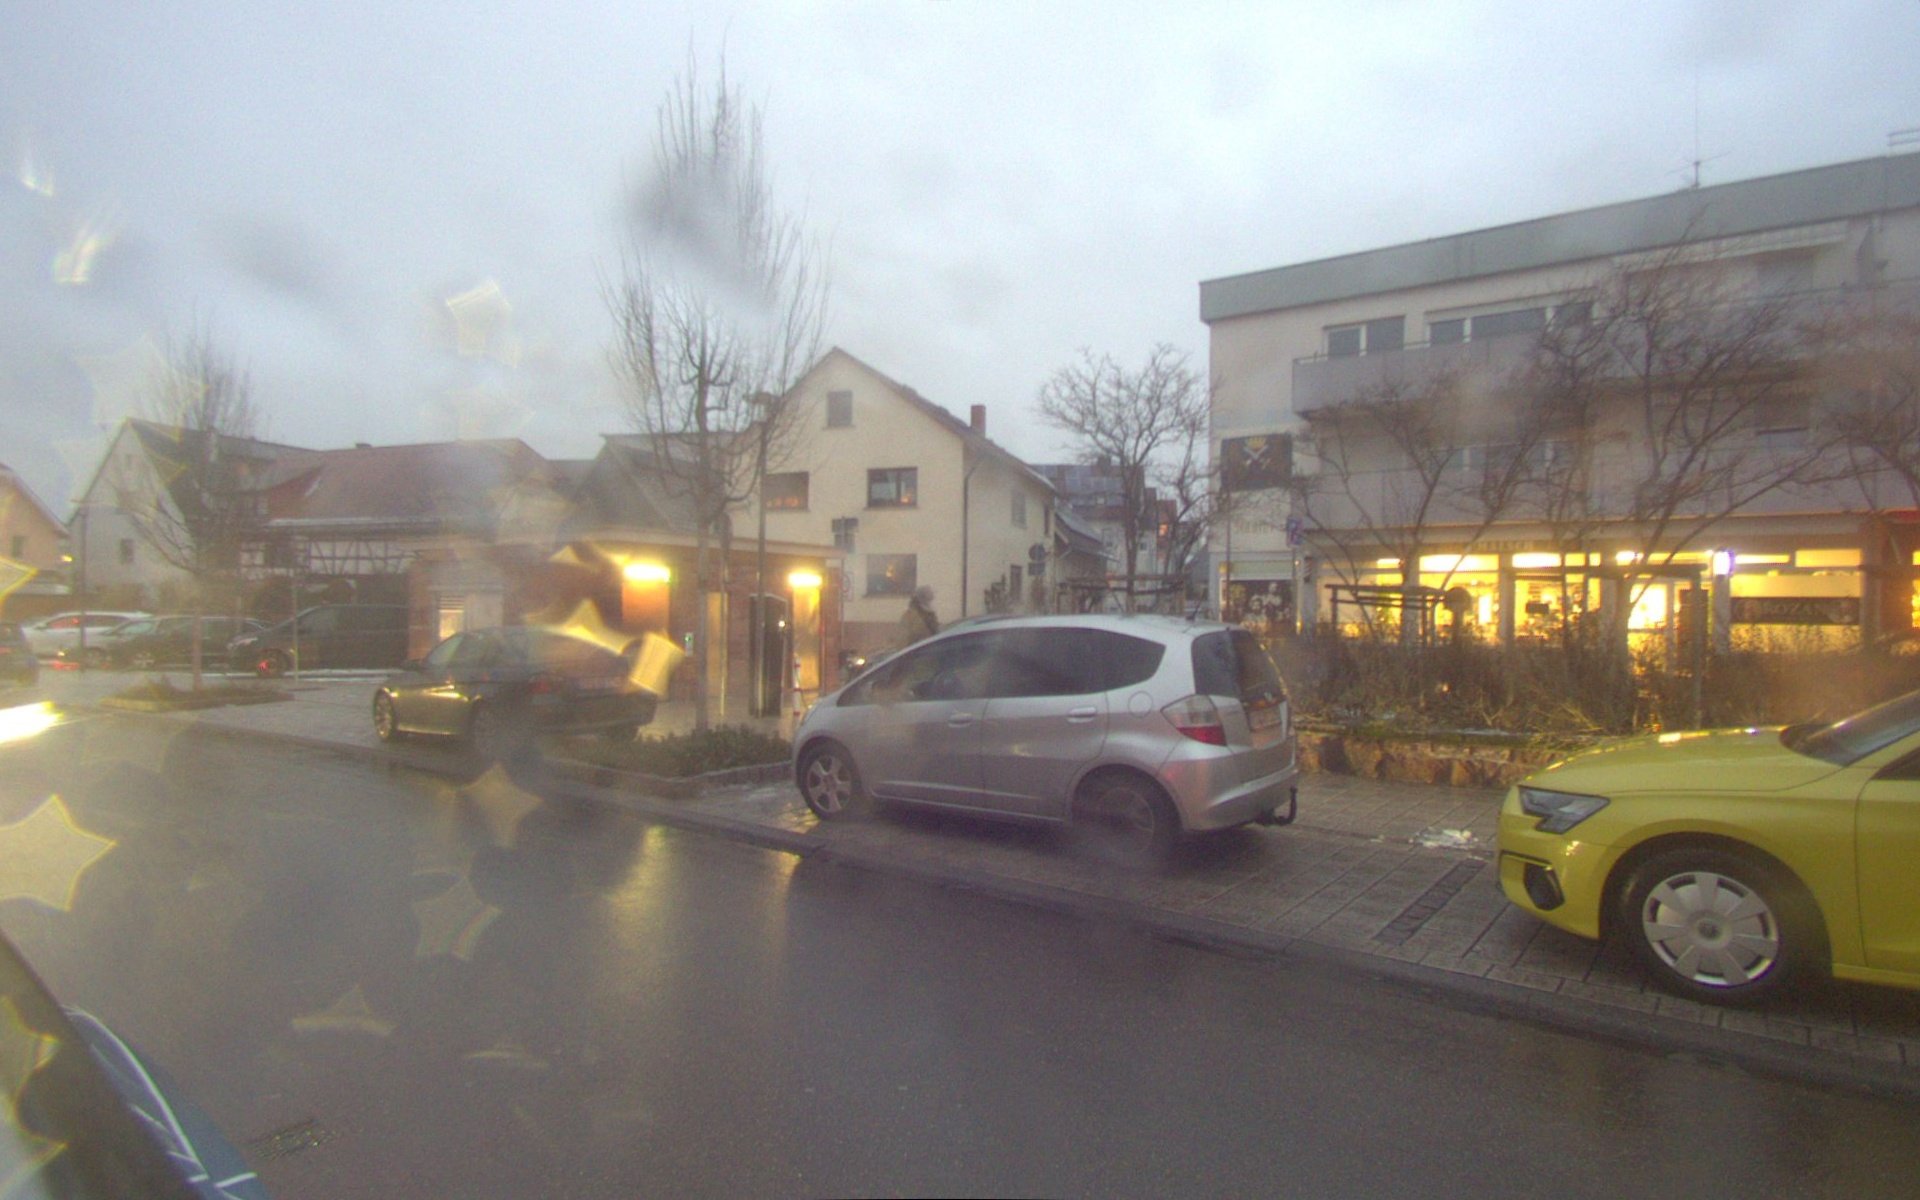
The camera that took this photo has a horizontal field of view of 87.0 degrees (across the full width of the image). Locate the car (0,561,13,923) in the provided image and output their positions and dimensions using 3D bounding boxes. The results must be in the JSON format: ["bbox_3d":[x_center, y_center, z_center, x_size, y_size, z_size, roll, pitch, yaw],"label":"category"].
[{"bbox_3d":[-7.049,0.672,5.322,5.058,1.655,2.243,-1,-1,38],"label":"car"}]

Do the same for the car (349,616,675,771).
[{"bbox_3d":[-5.443,0.964,12.015,4.454,1.483,1.729,-1,0,39],"label":"car"}]

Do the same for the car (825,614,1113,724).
[{"bbox_3d":[0.159,1.009,15.376,4.018,1.488,1.745,2,-3,-26],"label":"car"}]

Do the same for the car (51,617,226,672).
[{"bbox_3d":[-25.111,1.360,31.046,4.049,1.594,1.723,2,-3,-41],"label":"car"}]

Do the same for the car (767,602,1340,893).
[{"bbox_3d":[0.523,0.813,7.225,3.768,1.528,1.676,-1,0,38],"label":"car"}]

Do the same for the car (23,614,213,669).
[{"bbox_3d":[-27.229,1.319,32.882,4.583,1.666,1.991,1,-2,-41],"label":"car"}]

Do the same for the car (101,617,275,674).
[{"bbox_3d":[-22.538,1.291,29.701,3.934,1.541,2.004,0,-1,-37],"label":"car"}]

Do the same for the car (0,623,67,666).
[{"bbox_3d":[-33.933,1.547,35.314,1.758,1.470,4.015,-1,-2,44],"label":"car"}]

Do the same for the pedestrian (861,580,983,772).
[{"bbox_3d":[-0.408,0.761,10.592,1.060,1.881,0.746,-1,-2,41],"label":"pedestrian"}]

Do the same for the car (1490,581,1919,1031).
[{"bbox_3d":[4.466,0.680,3.528,4.341,1.527,1.730,-1,0,42],"label":"car"}]

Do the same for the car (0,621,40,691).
[{"bbox_3d":[-23.037,1.268,23.155,3.658,1.547,1.822,-1,-1,28],"label":"car"}]

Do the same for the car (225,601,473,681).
[{"bbox_3d":[-15.790,1.077,26.351,5.307,1.900,2.079,2,-3,-34],"label":"car"}]
